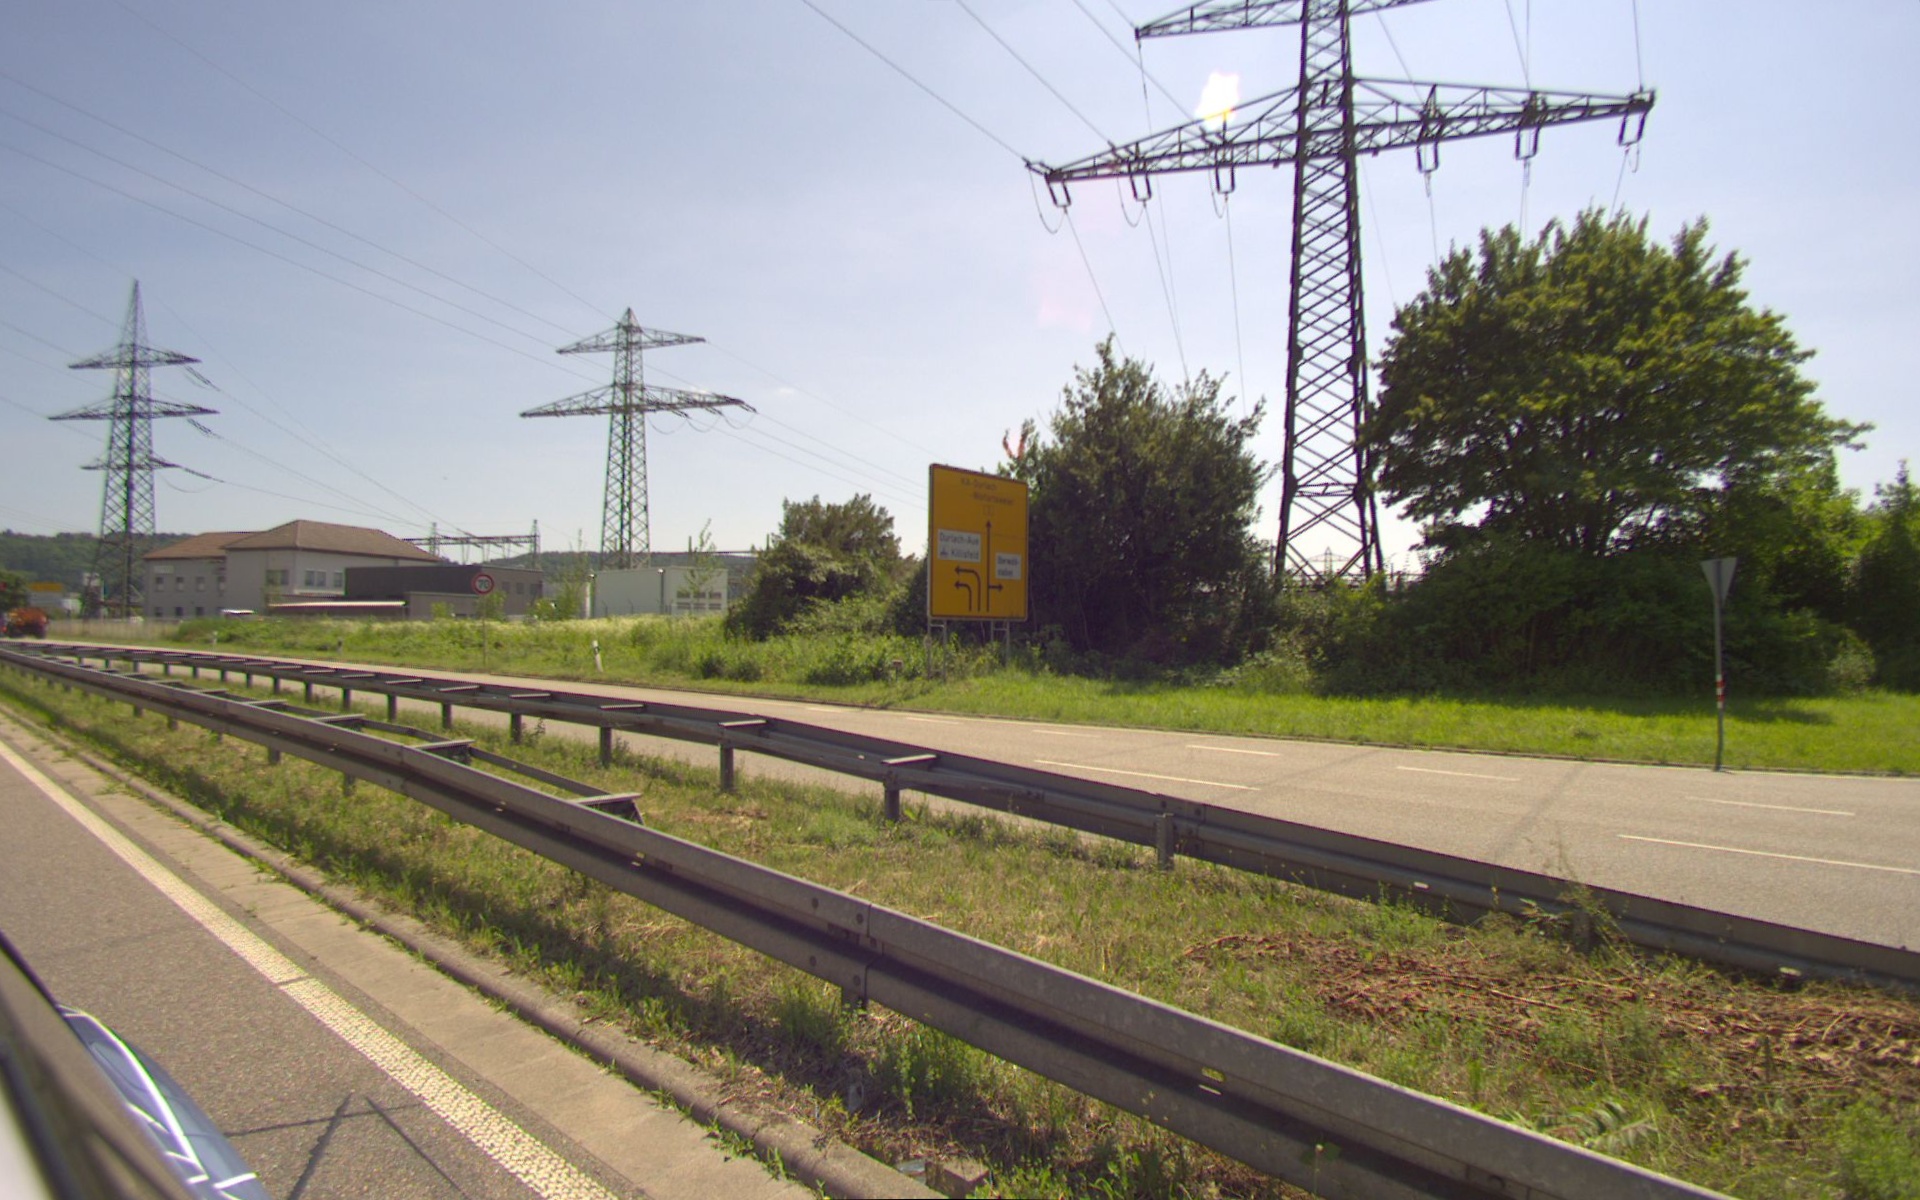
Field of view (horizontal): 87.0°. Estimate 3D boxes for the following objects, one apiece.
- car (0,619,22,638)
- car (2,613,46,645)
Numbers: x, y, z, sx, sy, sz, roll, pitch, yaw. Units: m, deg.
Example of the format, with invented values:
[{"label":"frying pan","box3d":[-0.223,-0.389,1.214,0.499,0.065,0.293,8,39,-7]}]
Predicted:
[{"label":"car","box3d":[-100.993,3.001,107.043,3.994,1.929,1.975,0,0,38]},{"label":"car","box3d":[-93.545,2.912,101.123,5.636,3.084,2.573,-1,-3,41]}]
